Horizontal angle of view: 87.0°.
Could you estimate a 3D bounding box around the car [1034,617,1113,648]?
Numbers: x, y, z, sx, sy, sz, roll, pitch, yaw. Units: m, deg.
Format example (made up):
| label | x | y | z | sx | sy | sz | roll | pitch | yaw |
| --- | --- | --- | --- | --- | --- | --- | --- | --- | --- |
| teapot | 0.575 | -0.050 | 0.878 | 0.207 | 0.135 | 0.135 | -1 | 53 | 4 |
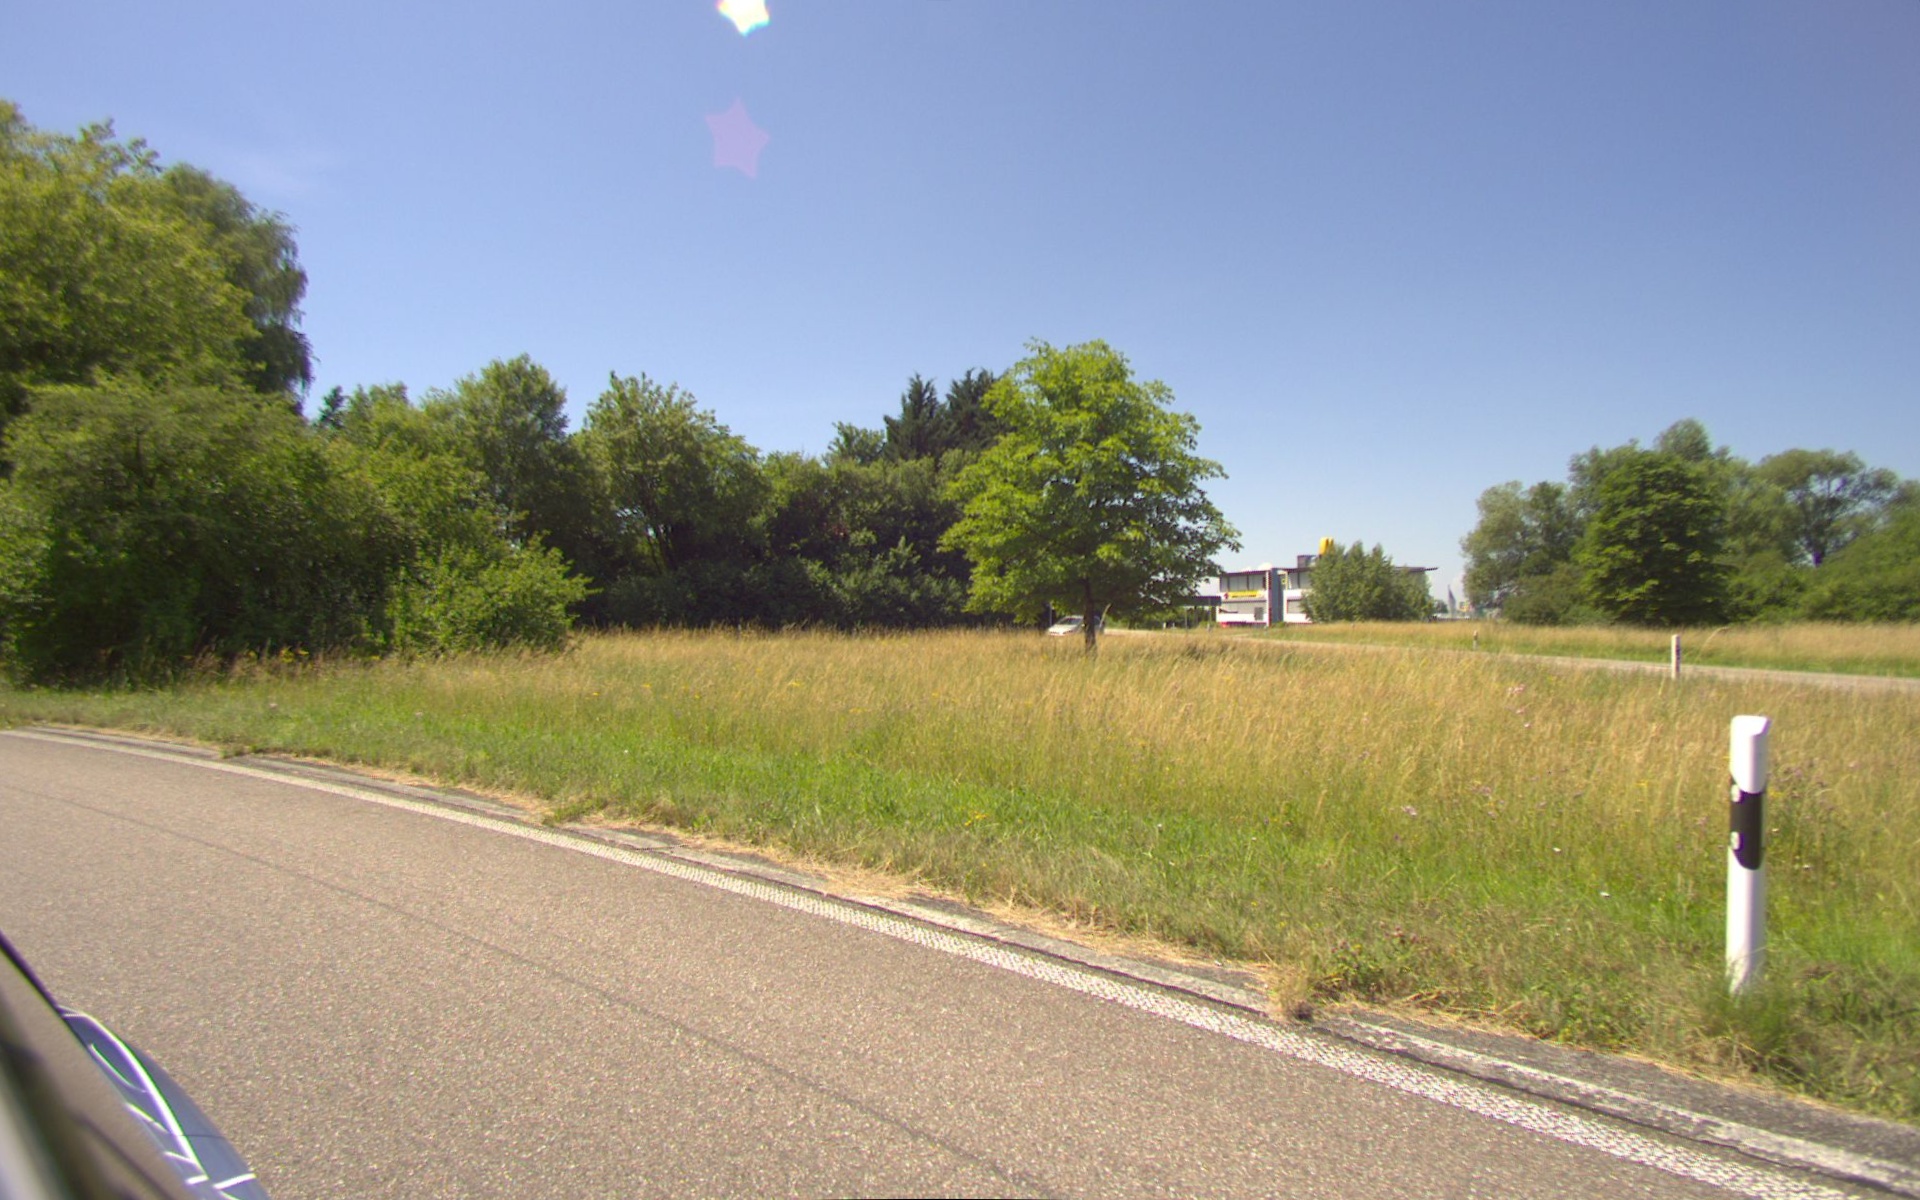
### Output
| label | x | y | z | sx | sy | sz | roll | pitch | yaw |
| --- | --- | --- | --- | --- | --- | --- | --- | --- | --- |
| car | 6.254 | 1.787 | 55.567 | 3.931 | 1.608 | 1.862 | 2 | -3 | -27 |
